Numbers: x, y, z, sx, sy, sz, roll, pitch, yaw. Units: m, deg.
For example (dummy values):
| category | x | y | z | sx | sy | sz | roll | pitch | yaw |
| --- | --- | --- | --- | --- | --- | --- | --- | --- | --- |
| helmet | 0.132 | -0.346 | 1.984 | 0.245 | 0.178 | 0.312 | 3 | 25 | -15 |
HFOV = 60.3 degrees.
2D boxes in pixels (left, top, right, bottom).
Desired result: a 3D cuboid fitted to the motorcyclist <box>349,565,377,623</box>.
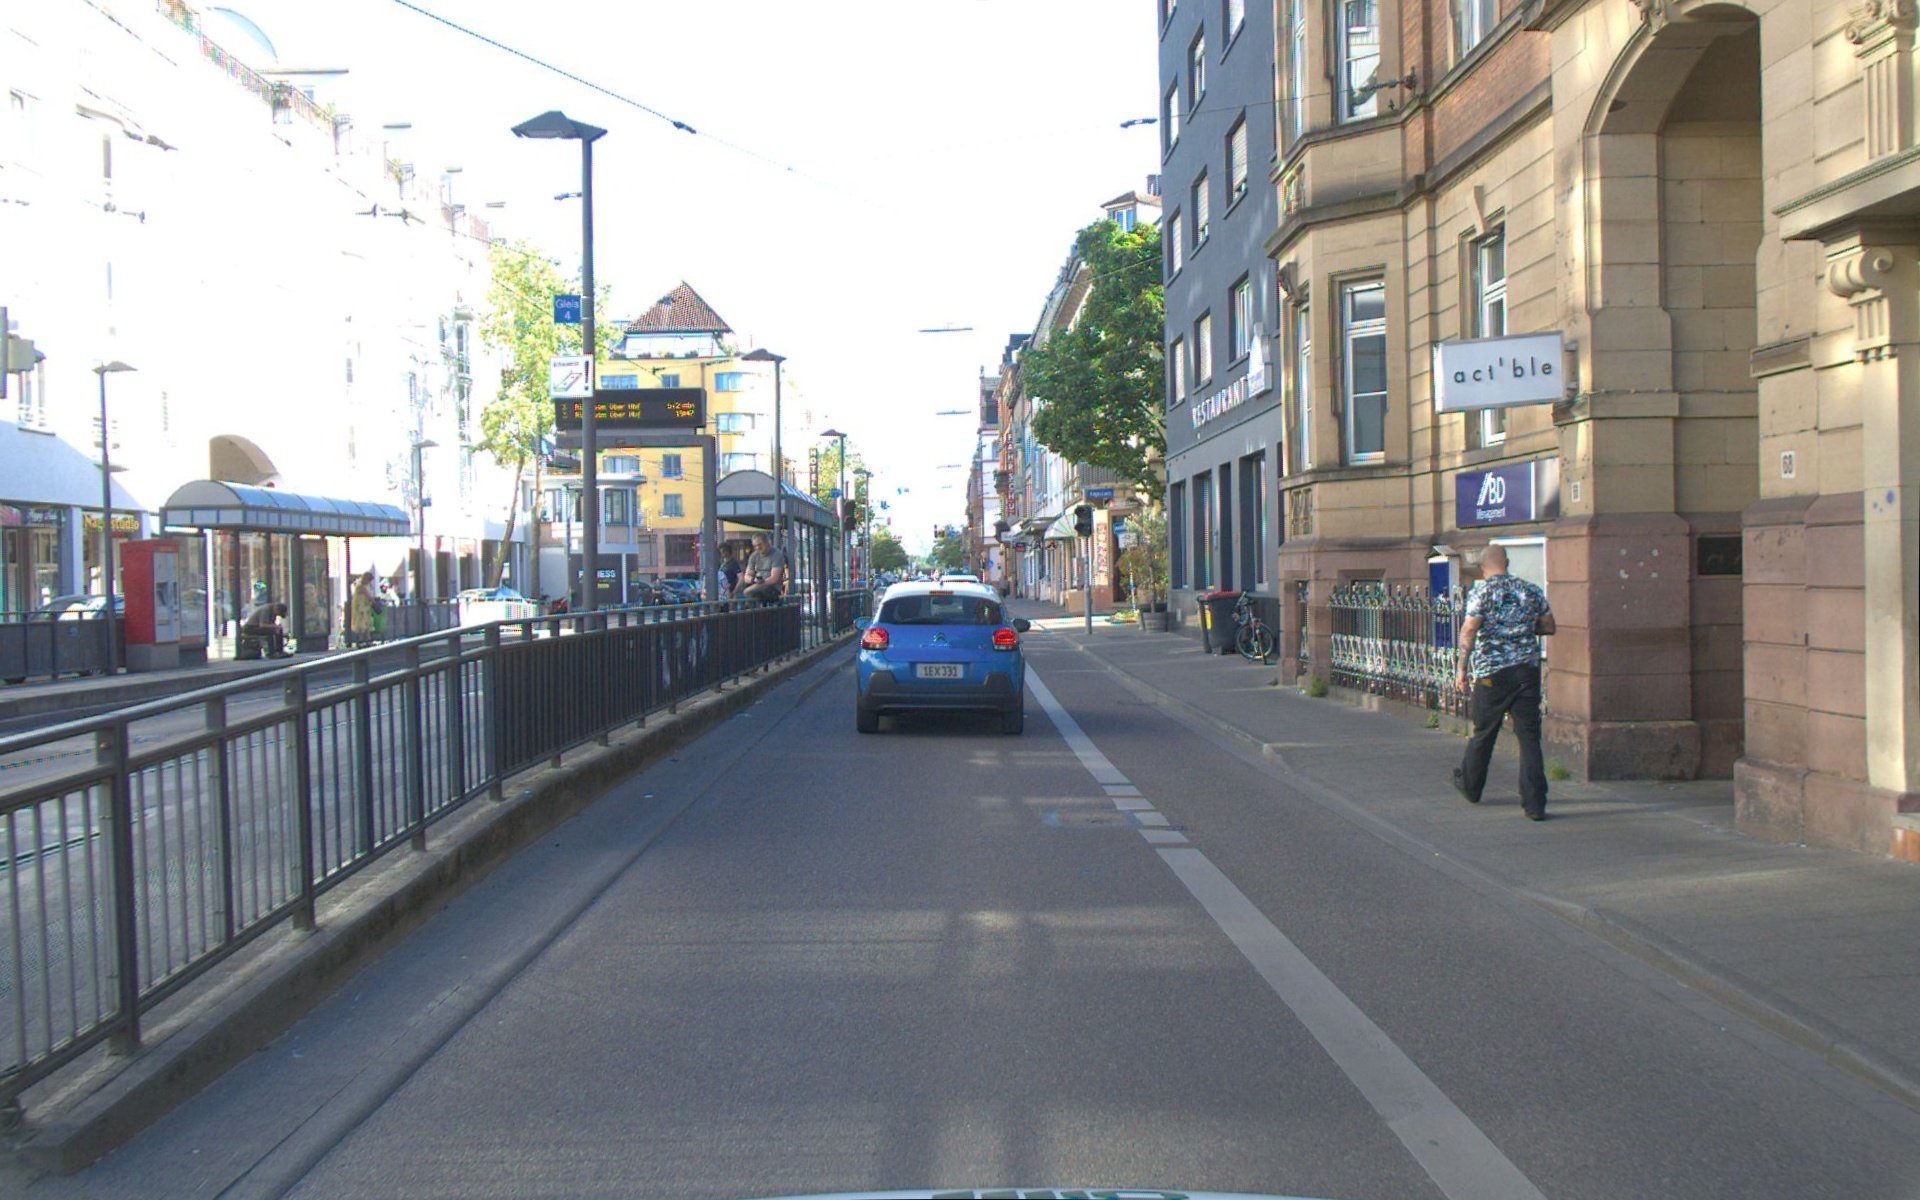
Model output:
| category | x | y | z | sx | sy | sz | roll | pitch | yaw |
| --- | --- | --- | --- | --- | --- | --- | --- | --- | --- |
| motorcyclist | -15.930 | -0.156 | 44.130 | 0.477 | 1.528 | 0.722 | 1 | 1 | 0 |

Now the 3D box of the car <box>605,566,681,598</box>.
| category | x | y | z | sx | sy | sz | roll | pitch | yaw |
| --- | --- | --- | --- | --- | --- | --- | --- | --- | --- |
| car | -17.752 | -1.027 | 92.787 | 3.908 | 1.703 | 1.956 | 0 | 2 | -4 |

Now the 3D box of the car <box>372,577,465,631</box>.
| category | x | y | z | sx | sy | sz | roll | pitch | yaw |
| --- | --- | --- | --- | --- | --- | --- | --- | --- | --- |
| car | -16.603 | 0.091 | 50.888 | 1.656 | 1.445 | 3.647 | 0 | 3 | 0 |

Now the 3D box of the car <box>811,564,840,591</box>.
| category | x | y | z | sx | sy | sz | roll | pitch | yaw |
| --- | --- | --- | --- | --- | --- | --- | --- | --- | --- |
| car | -8.962 | -1.517 | 110.769 | 1.717 | 1.643 | 4.826 | -2 | 2 | -3 |

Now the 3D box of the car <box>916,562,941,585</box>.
| category | x | y | z | sx | sy | sz | roll | pitch | yaw |
| --- | --- | --- | --- | --- | --- | --- | --- | --- | --- |
| car | -2.482 | -2.122 | 131.370 | 1.953 | 1.773 | 4.000 | 1 | 1 | -1 |

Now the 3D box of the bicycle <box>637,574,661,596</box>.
| category | x | y | z | sx | sy | sz | roll | pitch | yaw |
| --- | --- | --- | --- | --- | --- | --- | --- | --- | --- |
| bicycle | -15.930 | -0.790 | 84.726 | 0.665 | 1.019 | 2.687 | 0 | 3 | 0 |

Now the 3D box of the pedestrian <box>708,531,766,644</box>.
| category | x | y | z | sx | sy | sz | roll | pitch | yaw |
| --- | --- | --- | --- | --- | --- | --- | --- | --- | --- |
| pedestrian | -3.619 | -0.213 | 26.859 | 0.705 | 1.808 | 0.563 | 1 | 3 | 35 |

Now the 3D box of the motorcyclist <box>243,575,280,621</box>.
| category | x | y | z | sx | sy | sz | roll | pitch | yaw |
| --- | --- | --- | --- | --- | --- | --- | --- | --- | --- |
| motorcyclist | -17.157 | -0.058 | 40.637 | 0.547 | 1.093 | 0.827 | 1 | 1 | 0 |

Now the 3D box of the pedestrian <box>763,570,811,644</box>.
| category | x | y | z | sx | sy | sz | roll | pitch | yaw |
| --- | --- | --- | --- | --- | --- | --- | --- | --- | --- |
| pedestrian | -3.127 | 0.122 | 30.007 | 0.749 | 1.294 | 0.719 | -1 | 2 | 2 |

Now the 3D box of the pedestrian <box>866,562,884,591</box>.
| category | x | y | z | sx | sy | sz | roll | pitch | yaw |
| --- | --- | --- | --- | --- | --- | --- | --- | --- | --- |
| pedestrian | -4.946 | -1.362 | 96.514 | 0.829 | 1.682 | 0.691 | -1 | 3 | -29 |

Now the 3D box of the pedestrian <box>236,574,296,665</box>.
| category | x | y | z | sx | sy | sz | roll | pitch | yaw |
| --- | --- | --- | --- | --- | --- | --- | --- | --- | --- |
| pedestrian | -12.157 | 0.335 | 28.991 | 0.716 | 1.554 | 0.743 | 0 | 3 | -2 |

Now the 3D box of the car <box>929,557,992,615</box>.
| category | x | y | z | sx | sy | sz | roll | pitch | yaw |
| --- | --- | --- | --- | --- | --- | --- | --- | --- | --- |
| car | 0.010 | -0.491 | 54.004 | 1.953 | 1.773 | 4.000 | 1 | 1 | -1 |

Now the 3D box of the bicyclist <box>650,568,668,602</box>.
| category | x | y | z | sx | sy | sz | roll | pitch | yaw |
| --- | --- | --- | --- | --- | --- | --- | --- | --- | --- |
| bicyclist | -14.256 | -0.725 | 78.329 | 0.658 | 1.584 | 0.778 | 0 | 2 | 0 |

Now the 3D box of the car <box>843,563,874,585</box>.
| category | x | y | z | sx | sy | sz | roll | pitch | yaw |
| --- | --- | --- | --- | --- | --- | --- | --- | --- | --- |
| car | -7.696 | -2.017 | 125.851 | 1.911 | 1.511 | 4.002 | -2 | 2 | 2 |

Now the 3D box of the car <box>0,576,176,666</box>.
| category | x | y | z | sx | sy | sz | roll | pitch | yaw |
| --- | --- | --- | --- | --- | --- | --- | --- | --- | --- |
| car | -17.103 | 0.361 | 32.483 | 1.656 | 1.535 | 3.647 | 0 | 3 | 0 |

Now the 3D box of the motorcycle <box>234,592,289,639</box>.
| category | x | y | z | sx | sy | sz | roll | pitch | yaw |
| --- | --- | --- | --- | --- | --- | --- | --- | --- | --- |
| motorcycle | -17.132 | 0.370 | 40.582 | 0.547 | 1.093 | 1.845 | 1 | 1 | 0 |

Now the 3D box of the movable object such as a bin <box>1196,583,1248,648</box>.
| category | x | y | z | sx | sy | sz | roll | pitch | yaw |
| --- | --- | --- | --- | --- | --- | --- | --- | --- | --- |
| movable object such as a bin | 4.553 | 0.261 | 28.784 | 0.733 | 1.054 | 0.754 | -4 | 2 | 0 |

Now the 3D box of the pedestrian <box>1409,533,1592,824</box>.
| category | x | y | z | sx | sy | sz | roll | pitch | yaw |
| --- | --- | --- | --- | --- | --- | --- | --- | --- | --- |
| pedestrian | 3.513 | 0.469 | 10.842 | 0.764 | 1.779 | 1.093 | 0 | 4 | -3 |

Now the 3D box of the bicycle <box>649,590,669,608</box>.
| category | x | y | z | sx | sy | sz | roll | pitch | yaw |
| --- | --- | --- | --- | --- | --- | --- | --- | --- | --- |
| bicycle | -14.256 | -0.066 | 78.356 | 0.554 | 0.770 | 1.938 | 0 | 3 | 0 |

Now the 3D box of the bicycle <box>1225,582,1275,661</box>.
| category | x | y | z | sx | sy | sz | roll | pitch | yaw |
| --- | --- | --- | --- | --- | --- | --- | --- | --- | --- |
| bicycle | 4.538 | 0.315 | 25.970 | 0.450 | 1.142 | 1.773 | -2 | 2 | 0 |

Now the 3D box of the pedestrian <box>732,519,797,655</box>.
| category | x | y | z | sx | sy | sz | roll | pitch | yaw |
| --- | --- | --- | --- | --- | --- | --- | --- | --- | --- |
| pedestrian | -2.557 | -0.178 | 21.676 | 0.623 | 1.727 | 0.934 | 1 | 1 | 6 |

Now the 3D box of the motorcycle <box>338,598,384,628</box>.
| category | x | y | z | sx | sy | sz | roll | pitch | yaw |
| --- | --- | --- | --- | --- | --- | --- | --- | --- | --- |
| motorcycle | -15.935 | 0.330 | 44.060 | 0.483 | 0.732 | 2.006 | 1 | 1 | 0 |

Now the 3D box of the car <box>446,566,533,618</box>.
| category | x | y | z | sx | sy | sz | roll | pitch | yaw |
| --- | --- | --- | --- | --- | --- | --- | --- | --- | --- |
| car | -14.673 | -0.265 | 51.734 | 1.656 | 1.445 | 3.647 | 0 | 3 | 0 |

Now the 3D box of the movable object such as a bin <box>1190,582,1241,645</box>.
| category | x | y | z | sx | sy | sz | roll | pitch | yaw |
| --- | --- | --- | --- | --- | --- | --- | --- | --- | --- |
| movable object such as a bin | 4.555 | 0.234 | 29.544 | 0.733 | 1.054 | 0.754 | -4 | 2 | 0 |

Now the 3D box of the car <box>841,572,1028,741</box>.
| category | x | y | z | sx | sy | sz | roll | pitch | yaw |
| --- | --- | --- | --- | --- | --- | --- | --- | --- | --- |
| car | -0.256 | 0.507 | 17.433 | 1.745 | 1.476 | 3.654 | 1 | 2 | -1 |

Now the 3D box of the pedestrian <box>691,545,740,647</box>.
| category | x | y | z | sx | sy | sz | roll | pitch | yaw |
| --- | --- | --- | --- | --- | --- | --- | --- | --- | --- |
| pedestrian | -3.883 | -0.072 | 26.276 | 0.575 | 1.589 | 0.468 | 1 | 3 | 35 |

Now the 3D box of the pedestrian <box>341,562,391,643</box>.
| category | x | y | z | sx | sy | sz | roll | pitch | yaw |
| --- | --- | --- | --- | --- | --- | --- | --- | --- | --- |
| pedestrian | -11.892 | 0.035 | 33.141 | 0.716 | 1.586 | 0.743 | 0 | 3 | -2 |

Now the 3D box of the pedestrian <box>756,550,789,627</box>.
| category | x | y | z | sx | sy | sz | roll | pitch | yaw |
| --- | --- | --- | --- | --- | --- | --- | --- | --- | --- |
| pedestrian | -3.912 | -0.237 | 34.522 | 0.608 | 1.585 | 0.568 | 0 | 2 | 0 |
